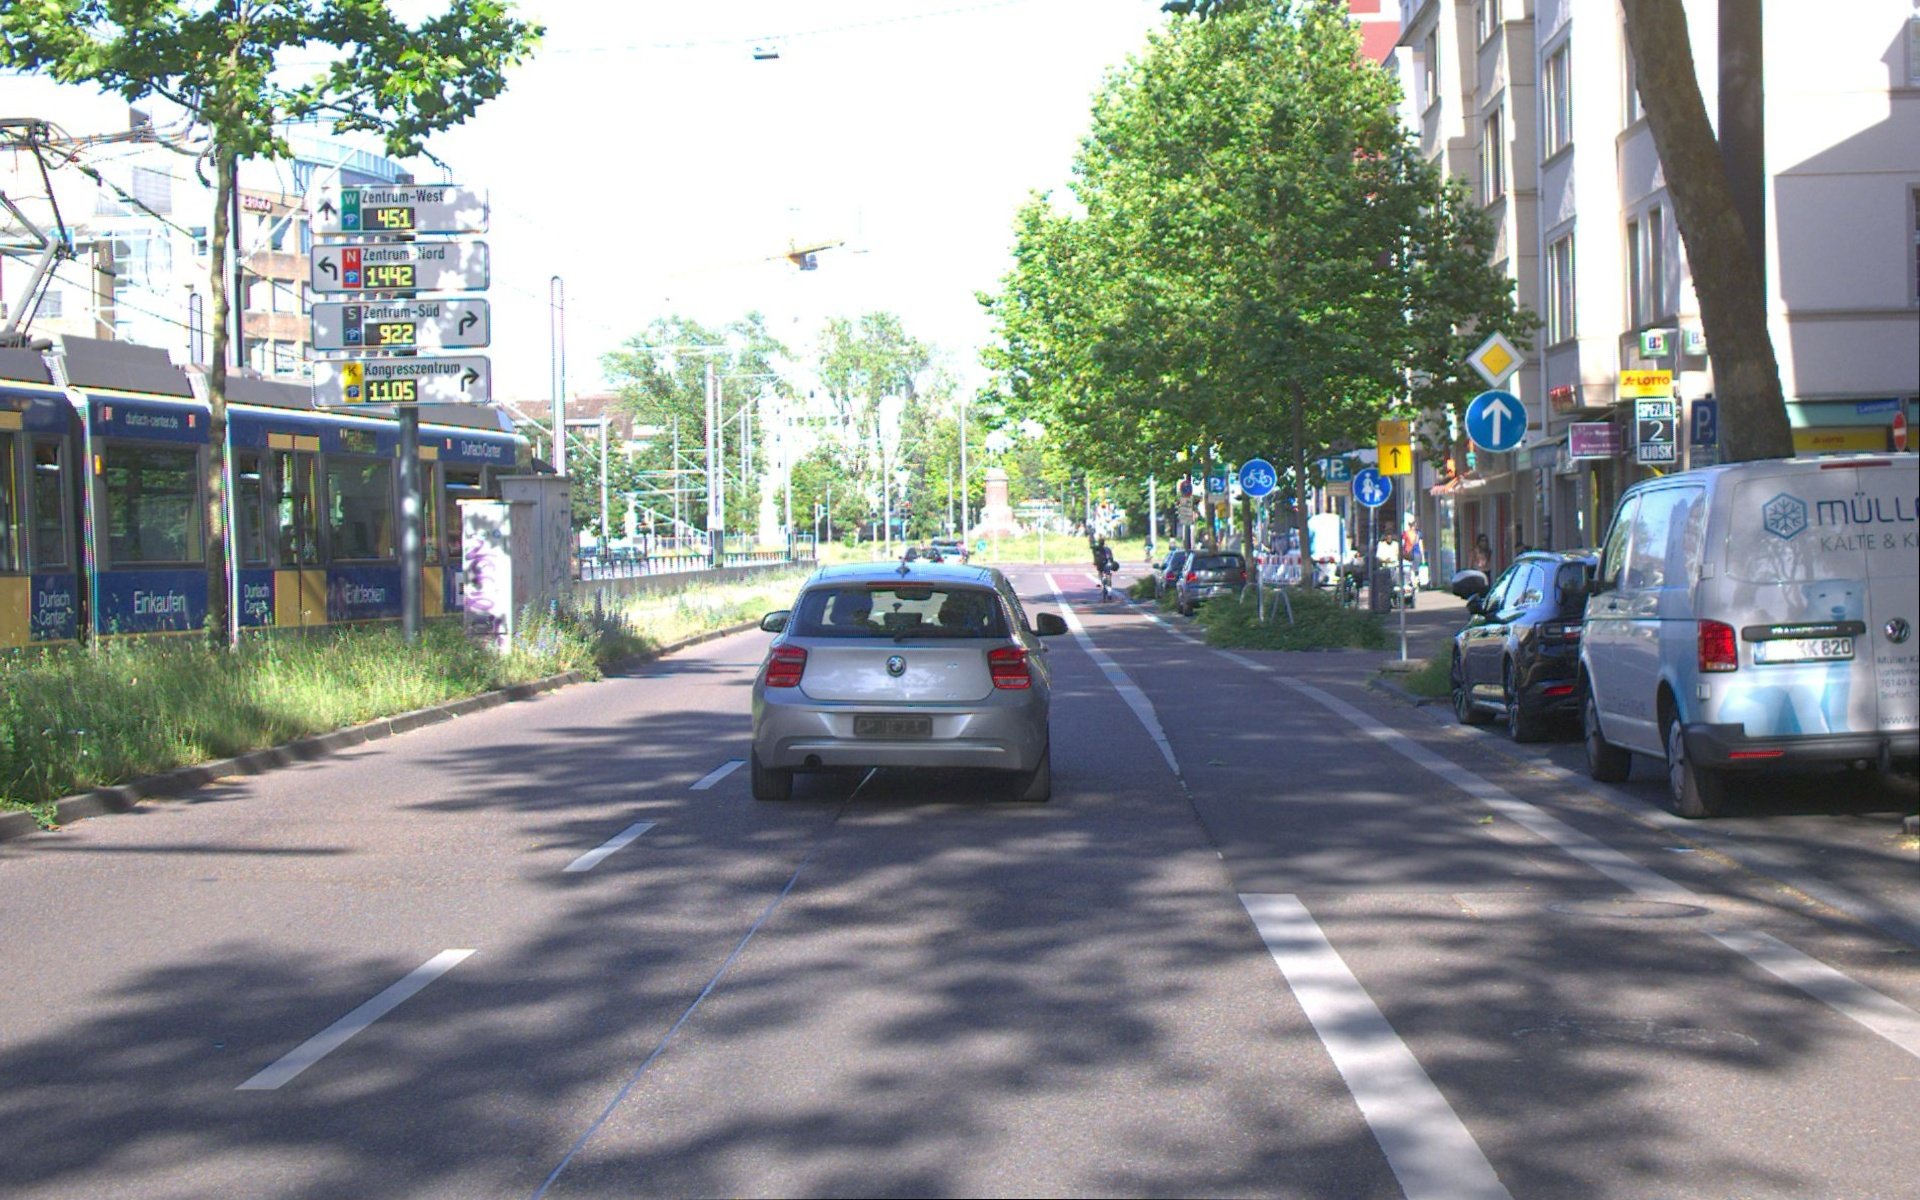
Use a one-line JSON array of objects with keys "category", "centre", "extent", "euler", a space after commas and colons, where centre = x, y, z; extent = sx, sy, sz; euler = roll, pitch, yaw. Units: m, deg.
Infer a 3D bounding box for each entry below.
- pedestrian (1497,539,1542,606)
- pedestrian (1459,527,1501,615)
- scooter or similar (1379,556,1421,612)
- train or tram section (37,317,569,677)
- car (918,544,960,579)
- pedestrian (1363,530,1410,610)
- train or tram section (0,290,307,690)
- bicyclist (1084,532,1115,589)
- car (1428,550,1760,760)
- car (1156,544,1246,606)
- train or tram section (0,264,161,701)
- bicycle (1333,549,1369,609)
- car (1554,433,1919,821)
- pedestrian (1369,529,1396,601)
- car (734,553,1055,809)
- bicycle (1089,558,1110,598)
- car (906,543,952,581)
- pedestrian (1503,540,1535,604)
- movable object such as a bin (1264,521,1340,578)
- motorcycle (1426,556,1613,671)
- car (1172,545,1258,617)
[{"category": "pedestrian", "centre": [11.611, -0.565, 71.326], "extent": [0.785, 1.364, 0.857], "euler": [-1, 1, 2]}, {"category": "pedestrian", "centre": [9.614, -0.534, 63.582], "extent": [0.682, 1.616, 0.562], "euler": [0, 1, -1]}, {"category": "scooter or similar", "centre": [9.277, -0.347, 72.536], "extent": [0.744, 1.167, 0.849], "euler": [-1, 1, -2]}, {"category": "train or tram section", "centre": [-7.787, -1.193, 42.817], "extent": [2.954, 3.883, 10.799], "euler": [1, 1, 9]}, {"category": "car", "centre": [-0.867, -1.625, 143.170], "extent": [1.644, 1.416, 4.000], "euler": [1, 1, 1]}, {"category": "pedestrian", "centre": [9.128, -0.641, 73.609], "extent": [0.859, 1.699, 0.917], "euler": [-1, 1, -1]}, {"category": "train or tram section", "centre": [-8.901, -1.115, 35.610], "extent": [2.956, 3.883, 3.864], "euler": [1, 1, 10]}, {"category": "bicyclist", "centre": [3.842, -1.091, 94.700], "extent": [0.785, 1.526, 0.895], "euler": [1, 1, 1]}, {"category": "car", "centre": [4.982, 0.372, 27.642], "extent": [1.818, 1.510, 4.708], "euler": [1, 1, 1]}, {"category": "car", "centre": [6.053, -0.653, 86.767], "extent": [2.038, 1.504, 4.594], "euler": [0, 1, 1]}, {"category": "train or tram section", "centre": [-10.333, -1.007, 26.673], "extent": [2.930, 3.799, 14.268], "euler": [1, 1, 9]}, {"category": "bicycle", "centre": [8.111, -0.448, 71.273], "extent": [0.386, 1.203, 1.872], "euler": [-1, 1, 17]}, {"category": "car", "centre": [4.829, 0.117, 20.336], "extent": [1.856, 2.007, 4.724], "euler": [1, 1, 1]}, {"category": "pedestrian", "centre": [10.154, -0.849, 82.617], "extent": [0.558, 1.705, 0.770], "euler": [-1, 1, 1]}, {"category": "car", "centre": [-0.320, 0.433, 21.472], "extent": [1.798, 1.410, 4.000], "euler": [-1, 1, 1]}, {"category": "bicycle", "centre": [3.839, -0.617, 94.662], "extent": [0.499, 1.085, 1.997], "euler": [1, 1, 1]}, {"category": "car", "centre": [-1.223, -1.497, 135.061], "extent": [1.726, 1.465, 4.411], "euler": [0, 1, -1]}, {"category": "pedestrian", "centre": [11.741, -0.589, 72.206], "extent": [0.535, 1.328, 0.820], "euler": [-1, 1, 2]}, {"category": "movable object such as a bin", "centre": [11.538, -1.730, 116.025], "extent": [1.945, 1.837, 3.481], "euler": [-1, 2, -4]}, {"category": "motorcycle", "centre": [6.201, 0.144, 38.142], "extent": [1.949, 1.227, 0.516], "euler": [1, 1, -2]}, {"category": "car", "centre": [5.854, -0.457, 79.180], "extent": [1.694, 1.497, 3.801], "euler": [-3, 1, 1]}]
